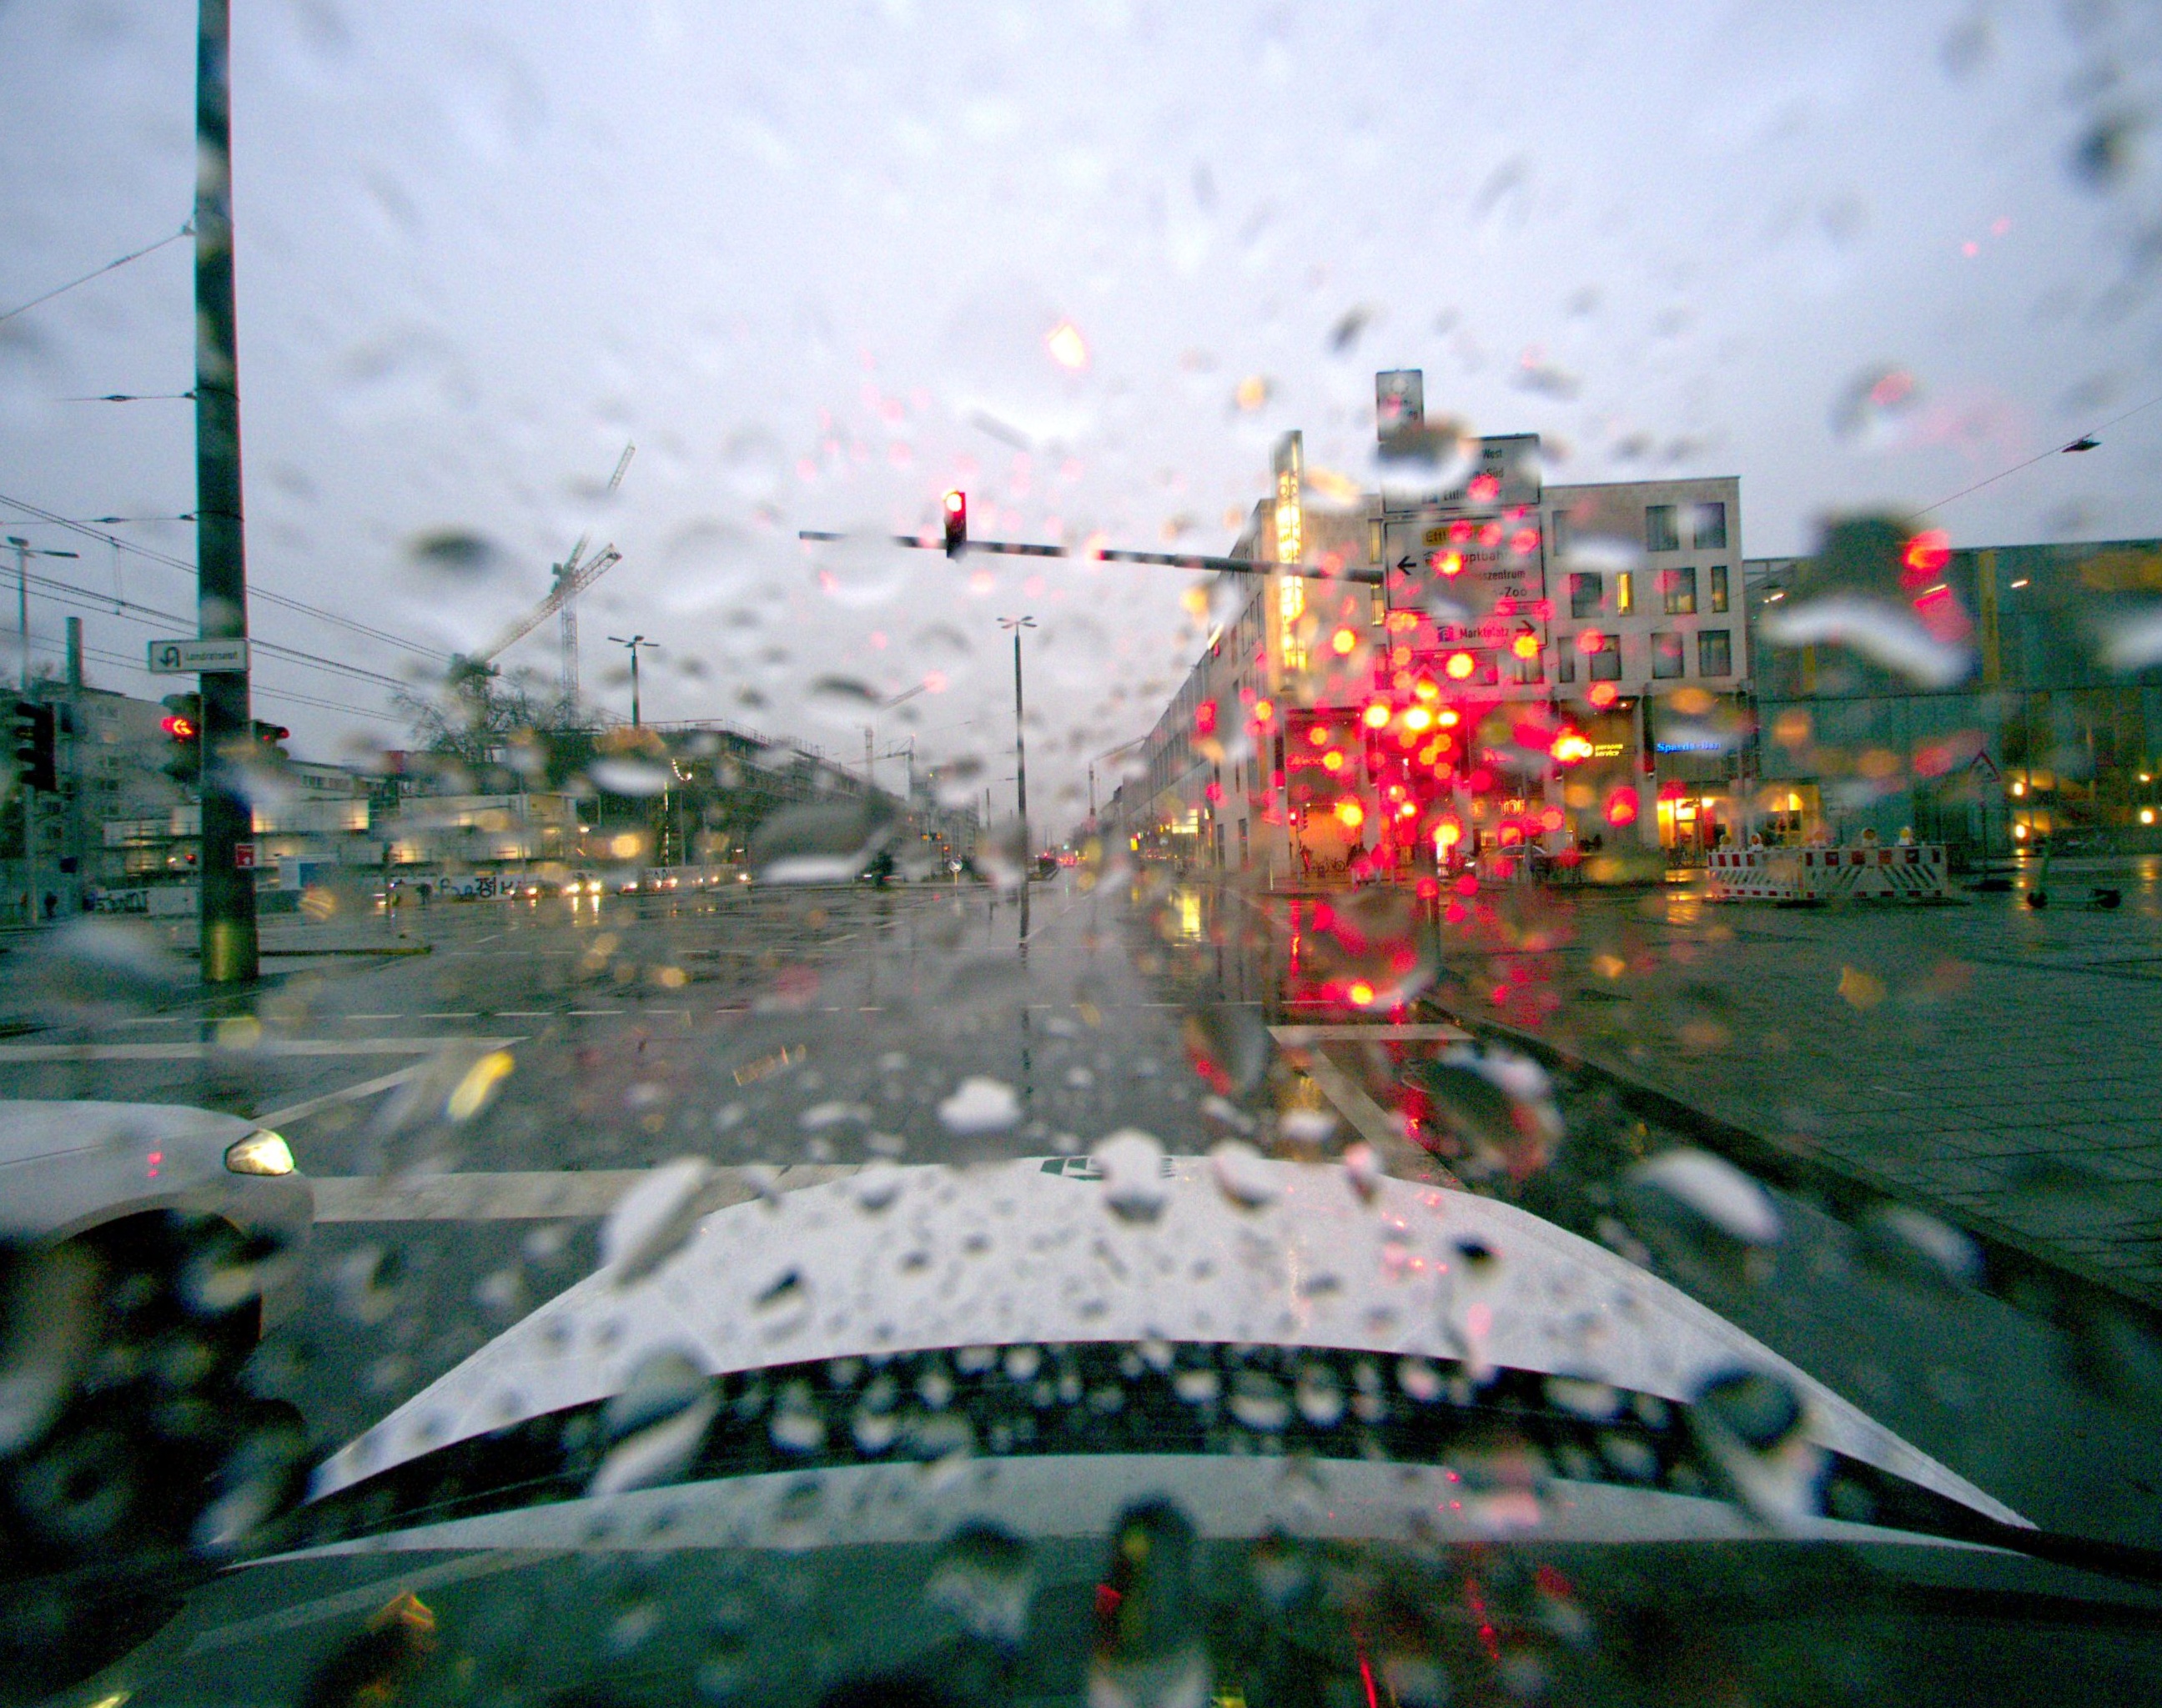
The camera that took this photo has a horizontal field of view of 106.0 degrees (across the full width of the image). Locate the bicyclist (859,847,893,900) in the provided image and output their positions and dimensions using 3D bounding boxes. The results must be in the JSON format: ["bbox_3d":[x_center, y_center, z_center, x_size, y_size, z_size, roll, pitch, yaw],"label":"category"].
[{"bbox_3d":[-7.250,0.682,28.874,1.158,1.871,0.742,0,-1,-14],"label":"bicyclist"}]

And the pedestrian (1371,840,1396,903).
[{"bbox_3d":[11.903,0.672,32.071,0.691,2.448,0.792,0,-1,1],"label":"pedestrian"}]

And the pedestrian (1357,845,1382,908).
[{"bbox_3d":[11.282,0.866,31.846,0.687,2.441,0.758,0,-1,1],"label":"pedestrian"}]

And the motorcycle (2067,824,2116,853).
[{"bbox_3d":[48.290,-0.752,38.917,1.482,1.352,0.595,0,0,5],"label":"motorcycle"}]

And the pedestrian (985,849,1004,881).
[{"bbox_3d":[-4.966,0.632,46.691,0.826,1.831,0.778,0,-1,-29],"label":"pedestrian"}]

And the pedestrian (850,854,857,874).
[{"bbox_3d":[-22.806,0.982,81.619,0.569,1.968,0.664,1,-1,-4],"label":"pedestrian"}]

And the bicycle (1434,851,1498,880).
[{"bbox_3d":[19.258,0.580,40.786,2.705,1.359,0.957,-2,-1,-2],"label":"bicycle"}]

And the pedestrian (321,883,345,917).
[{"bbox_3d":[-45.442,2.805,49.481,0.781,2.014,0.748,0,-1,6],"label":"pedestrian"}]

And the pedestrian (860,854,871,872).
[{"bbox_3d":[-24.205,1.051,91.687,0.939,2.014,1.094,0,-1,-1],"label":"pedestrian"}]

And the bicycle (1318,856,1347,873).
[{"bbox_3d":[15.637,0.656,50.592,1.642,1.070,0.524,0,-1,-2],"label":"bicycle"}]

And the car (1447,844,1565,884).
[{"bbox_3d":[17.965,0.429,34.539,3.970,1.618,2.001,0,-1,3],"label":"car"}]

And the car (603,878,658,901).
[{"bbox_3d":[-34.269,2.638,62.082,2.074,1.530,4.603,-2,0,-7],"label":"car"}]

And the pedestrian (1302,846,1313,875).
[{"bbox_3d":[13.770,0.422,49.595,0.596,1.745,0.526,-1,-1,10],"label":"pedestrian"}]

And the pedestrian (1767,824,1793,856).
[{"bbox_3d":[38.565,-0.764,44.940,0.782,1.739,0.779,-2,-1,17],"label":"pedestrian"}]

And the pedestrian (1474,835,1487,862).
[{"bbox_3d":[25.408,-0.332,51.771,0.613,1.685,0.366,-2,-1,-2],"label":"pedestrian"}]

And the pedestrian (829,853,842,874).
[{"bbox_3d":[-23.841,0.946,79.069,0.939,2.014,1.094,0,-1,-1],"label":"pedestrian"}]

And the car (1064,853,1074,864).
[{"bbox_3d":[-2.178,0.846,147.365,1.572,2.013,3.170,-2,0,0],"label":"car"}]

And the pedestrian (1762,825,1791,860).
[{"bbox_3d":[33.141,-0.542,38.824,0.737,1.684,0.783,0,-1,8],"label":"pedestrian"}]

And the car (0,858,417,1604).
[{"bbox_3d":[-3.210,0.783,0.346,2.010,1.487,4.561,-2,0,1],"label":"car"}]

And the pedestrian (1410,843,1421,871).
[{"bbox_3d":[19.557,0.175,47.600,0.480,1.663,0.460,-3,-1,32],"label":"pedestrian"}]

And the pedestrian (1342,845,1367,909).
[{"bbox_3d":[10.577,0.868,31.540,0.712,2.441,0.758,0,-1,1],"label":"pedestrian"}]

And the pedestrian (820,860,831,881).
[{"bbox_3d":[-23.089,1.494,73.560,0.762,1.898,0.763,0,-2,1],"label":"pedestrian"}]

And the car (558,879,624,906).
[{"bbox_3d":[-33.703,2.605,56.192,1.986,1.657,4.001,-2,0,2],"label":"car"}]

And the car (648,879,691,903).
[{"bbox_3d":[-34.599,3.073,68.536,1.862,1.828,3.993,0,-1,-5],"label":"car"}]

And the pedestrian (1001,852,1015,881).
[{"bbox_3d":[-4.330,0.729,48.247,0.605,1.686,0.581,-1,-1,44],"label":"pedestrian"}]

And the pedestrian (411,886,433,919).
[{"bbox_3d":[-44.261,3.225,54.695,0.872,2.165,0.763,0,-1,-7],"label":"pedestrian"}]

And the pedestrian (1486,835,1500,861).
[{"bbox_3d":[28.041,-0.417,55.419,0.728,1.718,0.743,-3,-1,29],"label":"pedestrian"}]

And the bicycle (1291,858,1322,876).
[{"bbox_3d":[13.890,0.790,50.160,1.756,1.070,0.526,0,-1,9],"label":"bicycle"}]

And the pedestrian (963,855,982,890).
[{"bbox_3d":[-6.357,1.077,47.758,0.776,2.014,0.732,-1,-1,44],"label":"pedestrian"}]

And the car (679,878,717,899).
[{"bbox_3d":[-35.345,3.135,75.317,1.991,1.790,3.991,0,-1,-7],"label":"car"}]

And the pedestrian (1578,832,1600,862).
[{"bbox_3d":[29.380,-0.396,47.093,0.890,1.684,0.528,-2,-1,1],"label":"pedestrian"}]

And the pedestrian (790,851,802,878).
[{"bbox_3d":[-24.294,0.905,69.429,0.762,2.323,0.763,0,-2,1],"label":"pedestrian"}]

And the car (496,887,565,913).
[{"bbox_3d":[-38.434,3.174,56.955,1.986,1.530,4.001,-2,0,2],"label":"car"}]

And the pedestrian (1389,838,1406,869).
[{"bbox_3d":[20.468,-0.030,52.607,0.841,2.013,0.700,-2,0,10],"label":"pedestrian"}]

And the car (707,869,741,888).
[{"bbox_3d":[-35.416,2.379,80.881,1.991,1.790,3.991,0,-1,-7],"label":"car"}]

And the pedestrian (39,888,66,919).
[{"bbox_3d":[-64.934,3.137,51.419,0.788,1.902,0.717,-2,-1,0],"label":"pedestrian"}]

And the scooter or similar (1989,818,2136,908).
[{"bbox_3d":[15.676,0.137,13.060,0.590,1.352,1.495,0,0,2],"label":"scooter or similar"}]

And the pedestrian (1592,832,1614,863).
[{"bbox_3d":[29.329,-0.351,45.767,0.737,1.684,0.783,0,-1,8],"label":"pedestrian"}]

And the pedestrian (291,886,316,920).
[{"bbox_3d":[-46.267,2.897,48.456,0.861,2.014,0.624,0,-1,-6],"label":"pedestrian"}]

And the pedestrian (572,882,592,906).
[{"bbox_3d":[-29.028,2.332,47.390,0.721,1.388,0.729,-1,-1,32],"label":"pedestrian"}]

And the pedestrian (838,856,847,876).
[{"bbox_3d":[-22.471,1.132,76.814,0.696,1.881,0.553,0,-1,1],"label":"pedestrian"}]

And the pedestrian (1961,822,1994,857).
[{"bbox_3d":[43.842,-0.691,39.840,0.737,1.684,0.783,0,-1,8],"label":"pedestrian"}]

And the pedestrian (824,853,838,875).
[{"bbox_3d":[-23.765,0.931,77.354,0.939,2.014,1.094,0,-1,-1],"label":"pedestrian"}]

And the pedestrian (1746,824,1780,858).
[{"bbox_3d":[34.876,-0.662,41.631,1.026,1.684,0.824,0,-1,1],"label":"pedestrian"}]

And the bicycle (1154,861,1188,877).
[{"bbox_3d":[6.819,1.124,61.647,2.434,1.154,0.674,-2,-1,0],"label":"bicycle"}]

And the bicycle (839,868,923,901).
[{"bbox_3d":[-7.065,1.078,28.919,2.860,1.099,0.742,0,-1,-14],"label":"bicycle"}]

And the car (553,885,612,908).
[{"bbox_3d":[-38.959,3.295,63.776,1.986,1.530,4.001,-2,0,2],"label":"car"}]

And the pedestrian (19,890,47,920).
[{"bbox_3d":[-64.892,3.173,50.413,0.786,1.776,0.726,-2,-1,8],"label":"pedestrian"}]
